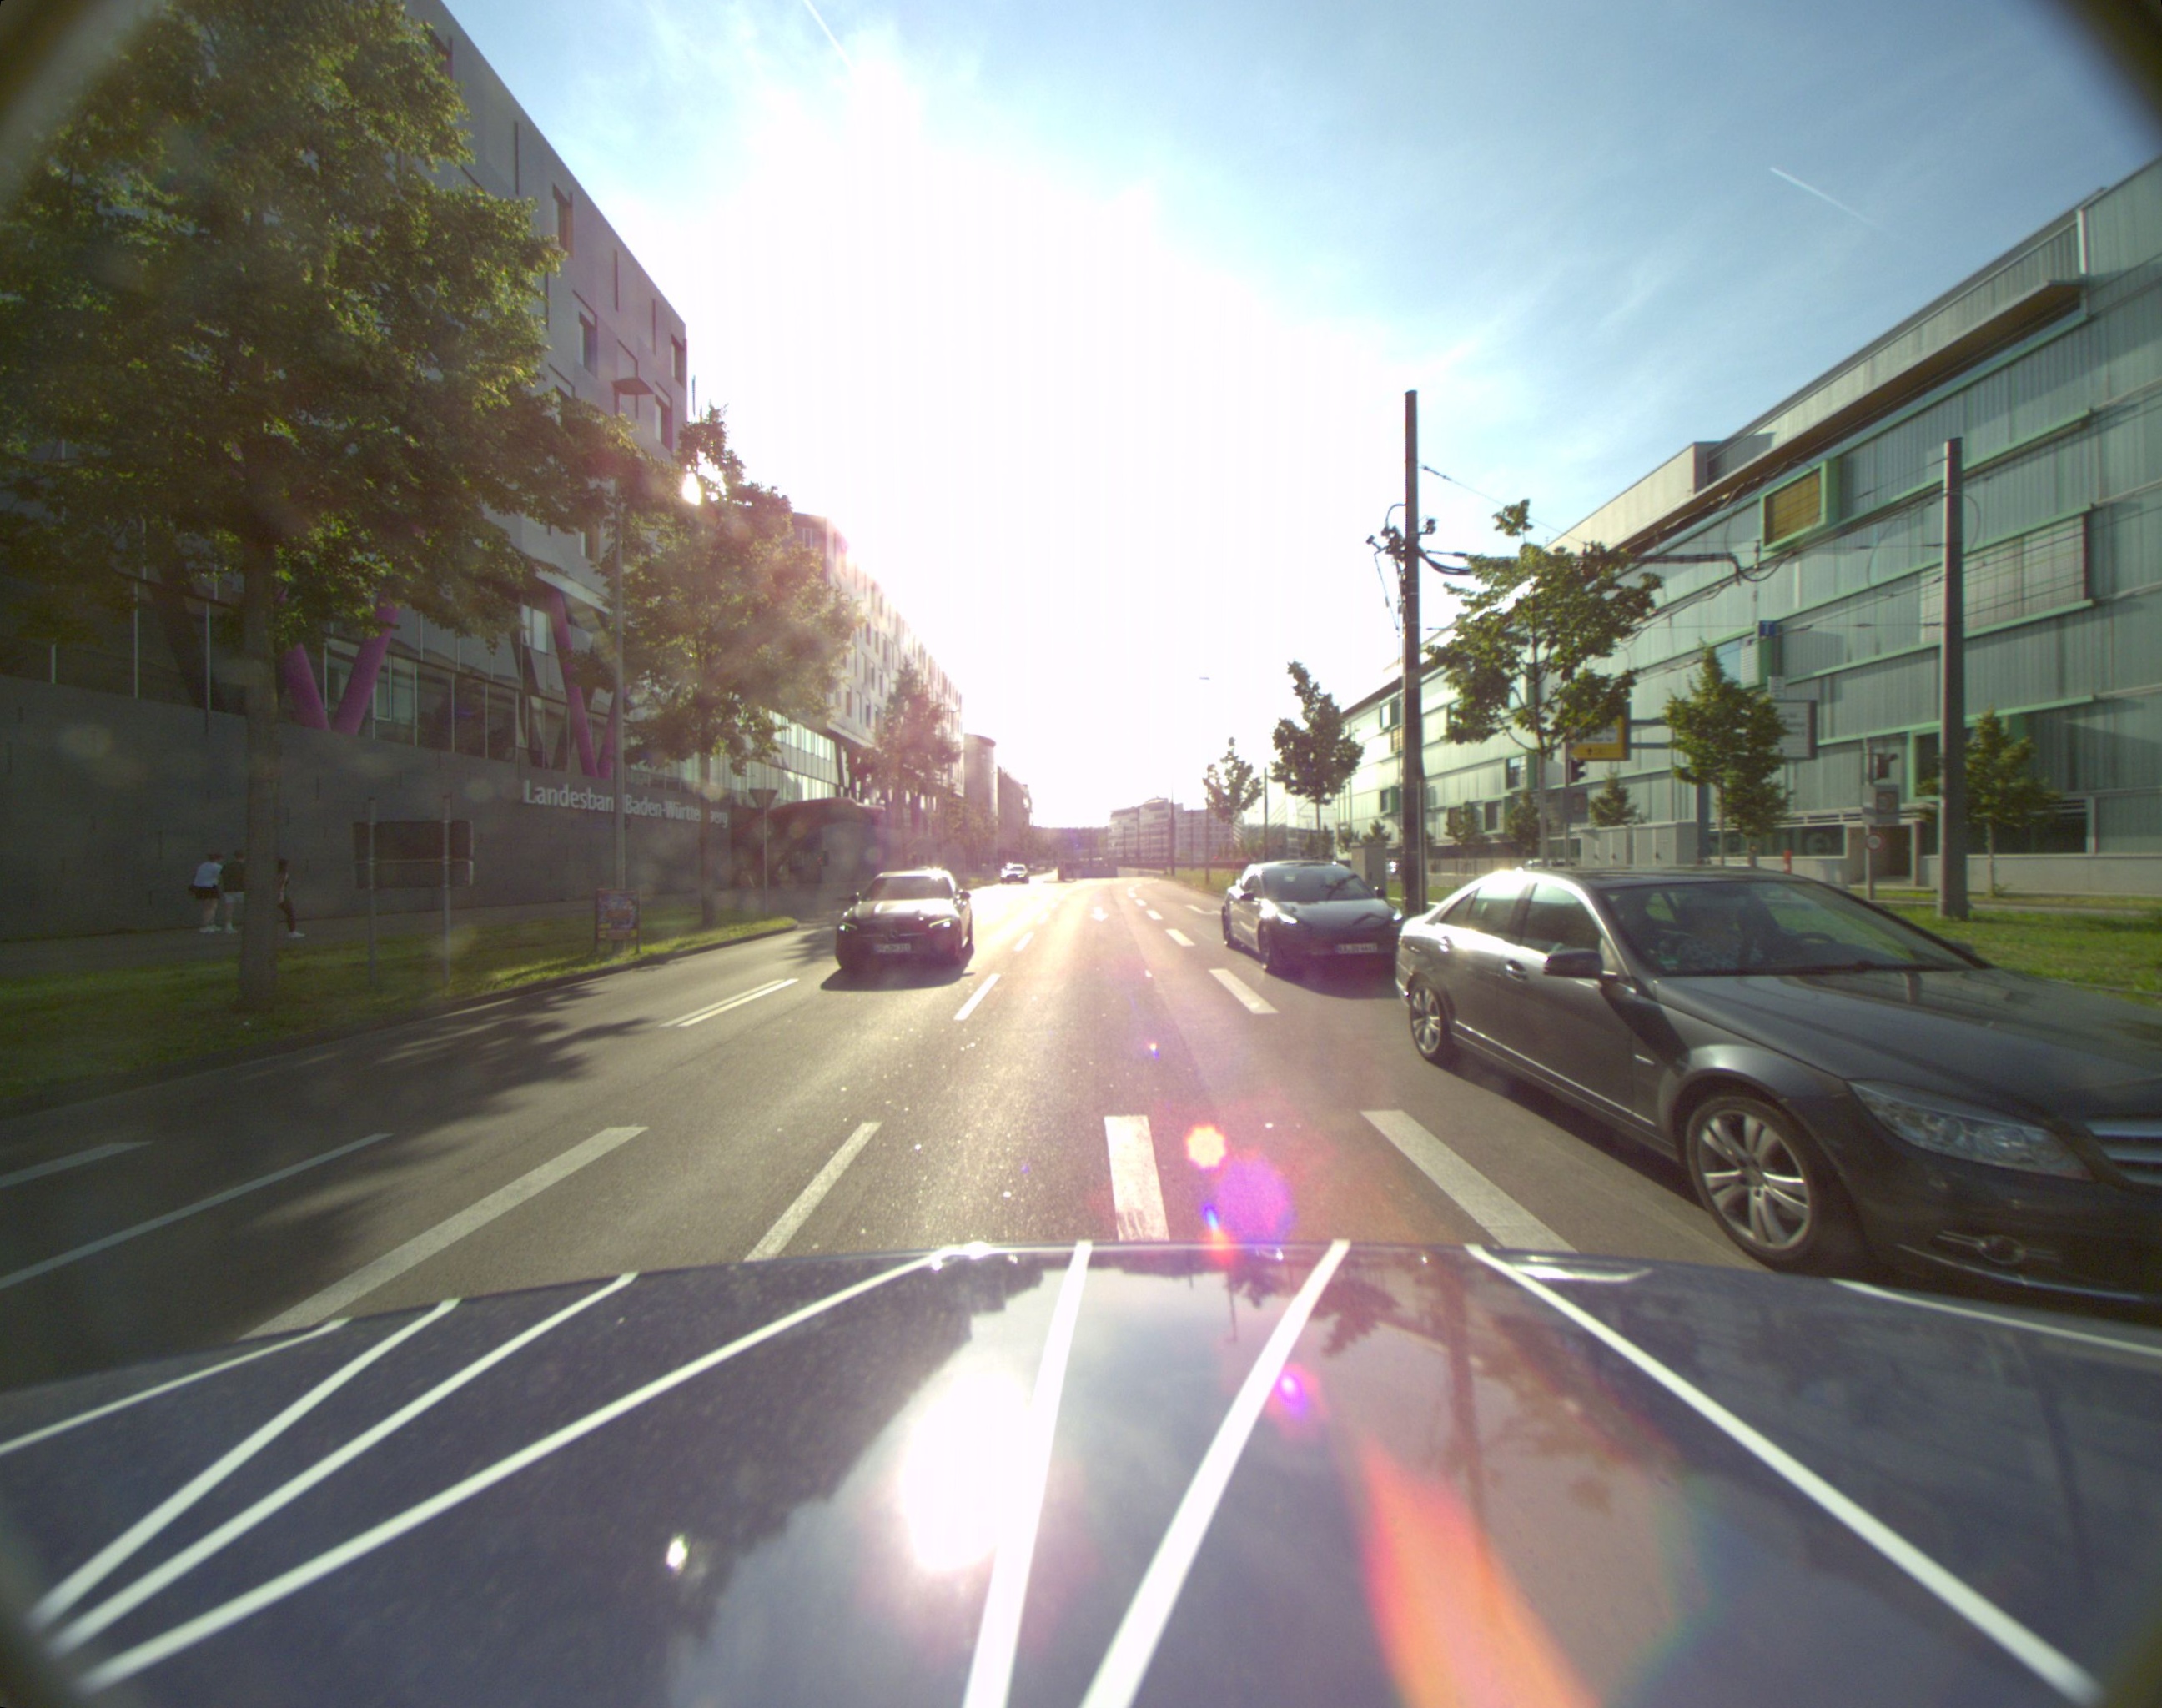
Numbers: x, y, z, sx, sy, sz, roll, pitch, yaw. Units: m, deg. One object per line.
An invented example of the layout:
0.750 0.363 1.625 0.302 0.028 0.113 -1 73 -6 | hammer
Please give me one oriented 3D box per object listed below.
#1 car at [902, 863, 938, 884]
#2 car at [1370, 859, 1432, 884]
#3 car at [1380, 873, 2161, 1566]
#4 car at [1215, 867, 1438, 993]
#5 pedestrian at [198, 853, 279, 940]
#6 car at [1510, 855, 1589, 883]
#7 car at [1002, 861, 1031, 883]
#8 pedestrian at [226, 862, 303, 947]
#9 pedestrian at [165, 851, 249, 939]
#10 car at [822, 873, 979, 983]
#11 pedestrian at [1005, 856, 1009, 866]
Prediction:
-11.420 1.359 54.228 1.696 1.382 4.199 0 -1 0 | car
20.368 1.096 48.579 1.999 1.519 4.311 0 0 -2 | car
3.286 0.897 3.921 1.791 1.470 4.354 -2 -1 1 | car
3.264 0.933 11.076 1.894 1.377 4.335 -2 -1 1 | car
-17.897 0.885 16.166 0.756 1.783 0.844 1 0 0 | pedestrian
27.513 0.871 44.825 1.911 1.519 4.441 0 0 -1 | car
-4.866 1.357 57.780 1.895 1.418 4.470 -1 2 -2 | car
-15.998 0.970 14.908 0.695 1.629 0.737 1 0 0 | pedestrian
-18.525 0.849 16.121 0.770 1.814 0.853 1 0 0 | pedestrian
-2.864 1.102 13.049 1.844 1.441 4.555 -2 -1 -4 | car
-12.981 1.205 133.326 0.725 1.776 0.772 0 0 0 | pedestrian
